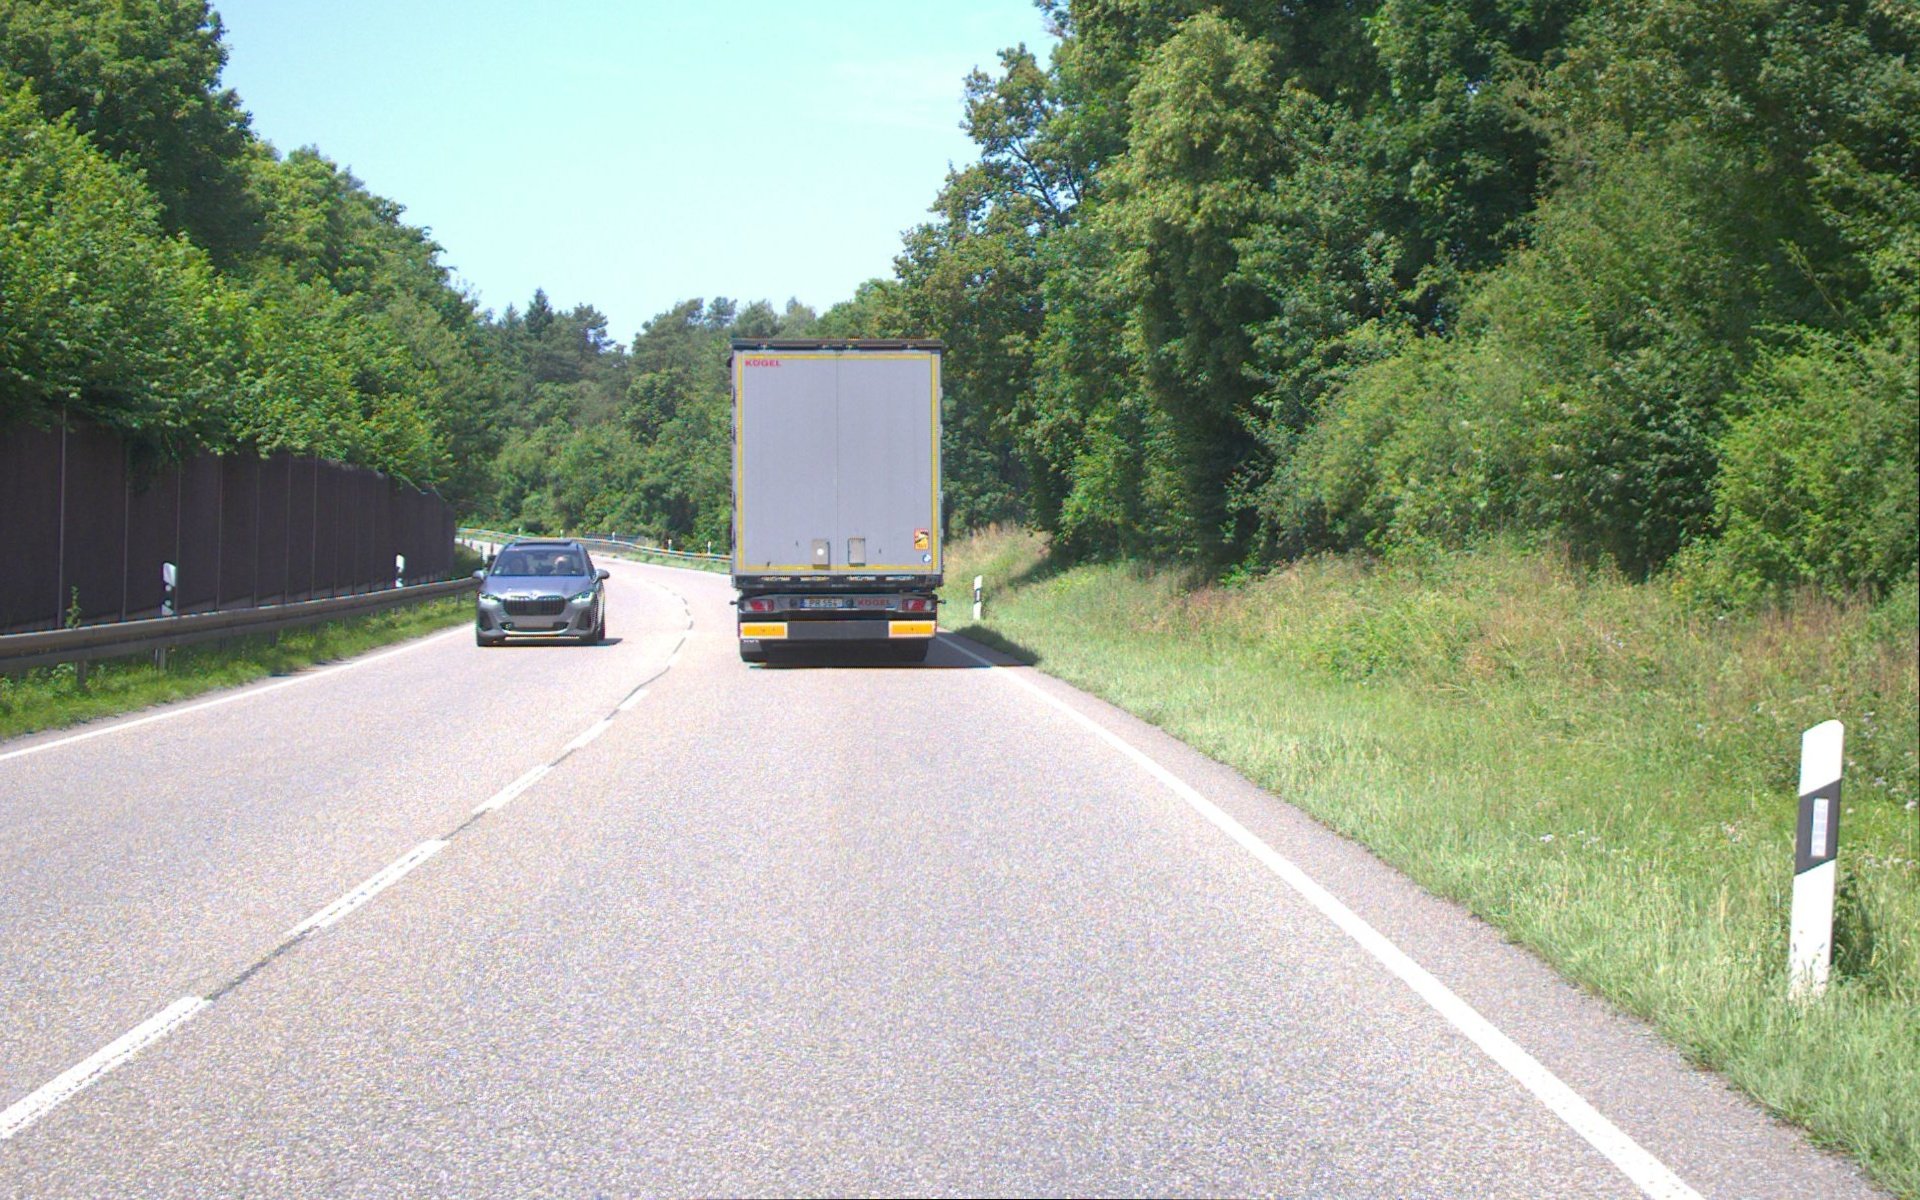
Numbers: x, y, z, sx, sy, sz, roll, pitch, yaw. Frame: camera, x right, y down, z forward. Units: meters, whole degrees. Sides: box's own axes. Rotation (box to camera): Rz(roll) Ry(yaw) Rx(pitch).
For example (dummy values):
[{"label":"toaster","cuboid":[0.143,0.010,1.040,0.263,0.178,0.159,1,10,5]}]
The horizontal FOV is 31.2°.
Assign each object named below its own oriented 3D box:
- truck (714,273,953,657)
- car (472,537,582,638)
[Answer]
[{"label":"truck","cuboid":[-1.658,-1.625,44.575,2.822,4.588,6.666,0,0,-2]},{"label":"car","cuboid":[-6.635,-0.216,52.669,1.616,1.486,3.618,0,1,-7]}]
